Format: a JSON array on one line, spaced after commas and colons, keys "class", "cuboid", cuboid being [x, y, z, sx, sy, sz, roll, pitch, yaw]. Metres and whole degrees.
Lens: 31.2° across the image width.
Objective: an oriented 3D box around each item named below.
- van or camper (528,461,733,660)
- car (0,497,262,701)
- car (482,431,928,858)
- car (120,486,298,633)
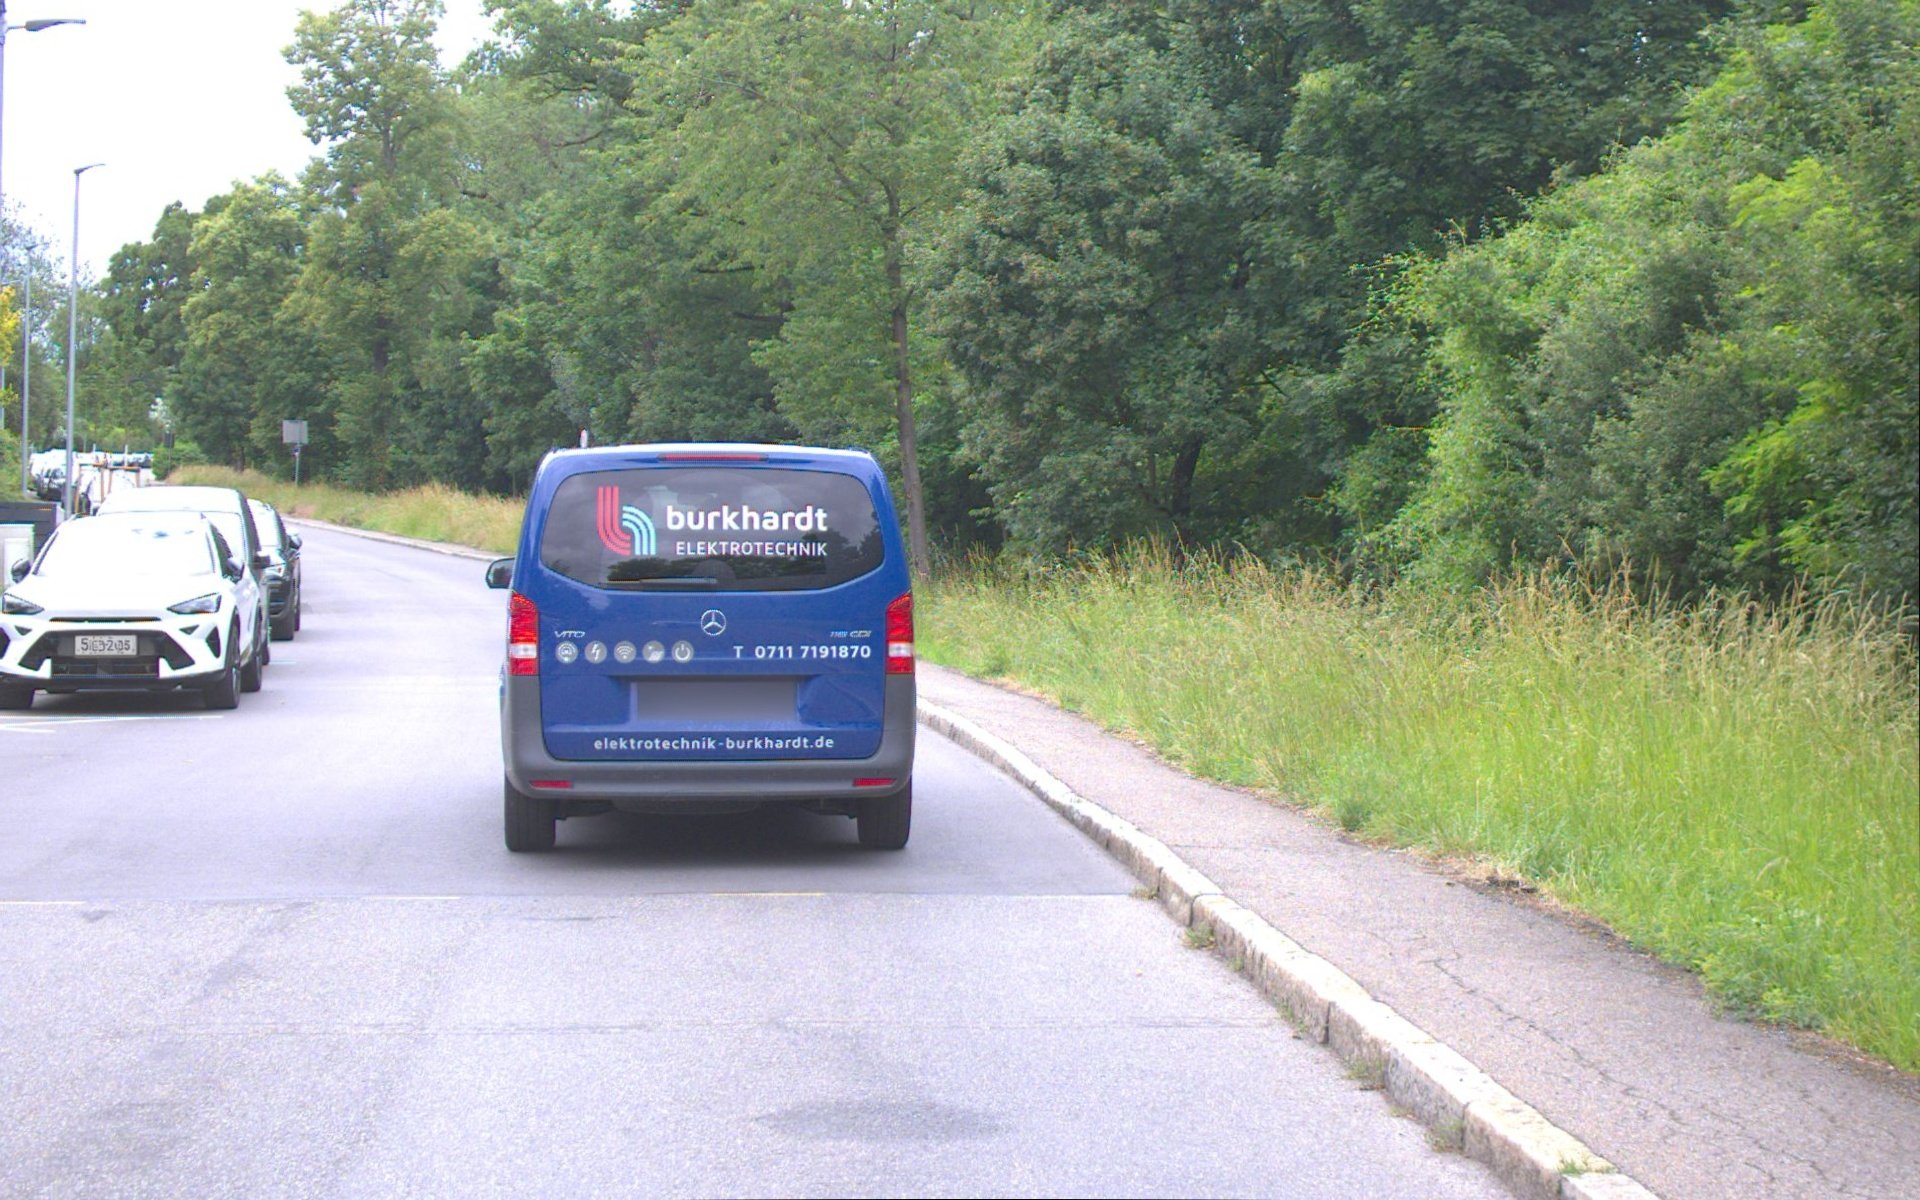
[{"class": "van or camper", "cuboid": [-3.796, -0.508, 38.878, 2.019, 1.950, 4.898, 3, 2, -8]}, {"class": "car", "cuboid": [-6.716, -0.047, 27.949, 1.724, 1.487, 4.415, 2, 1, -8]}, {"class": "car", "cuboid": [-1.309, 0.149, 16.980, 1.913, 1.831, 4.295, 0, 1, -6]}, {"class": "car", "cuboid": [-9.022, -0.510, 41.541, 1.815, 1.610, 4.225, 3, 1, -9]}]
